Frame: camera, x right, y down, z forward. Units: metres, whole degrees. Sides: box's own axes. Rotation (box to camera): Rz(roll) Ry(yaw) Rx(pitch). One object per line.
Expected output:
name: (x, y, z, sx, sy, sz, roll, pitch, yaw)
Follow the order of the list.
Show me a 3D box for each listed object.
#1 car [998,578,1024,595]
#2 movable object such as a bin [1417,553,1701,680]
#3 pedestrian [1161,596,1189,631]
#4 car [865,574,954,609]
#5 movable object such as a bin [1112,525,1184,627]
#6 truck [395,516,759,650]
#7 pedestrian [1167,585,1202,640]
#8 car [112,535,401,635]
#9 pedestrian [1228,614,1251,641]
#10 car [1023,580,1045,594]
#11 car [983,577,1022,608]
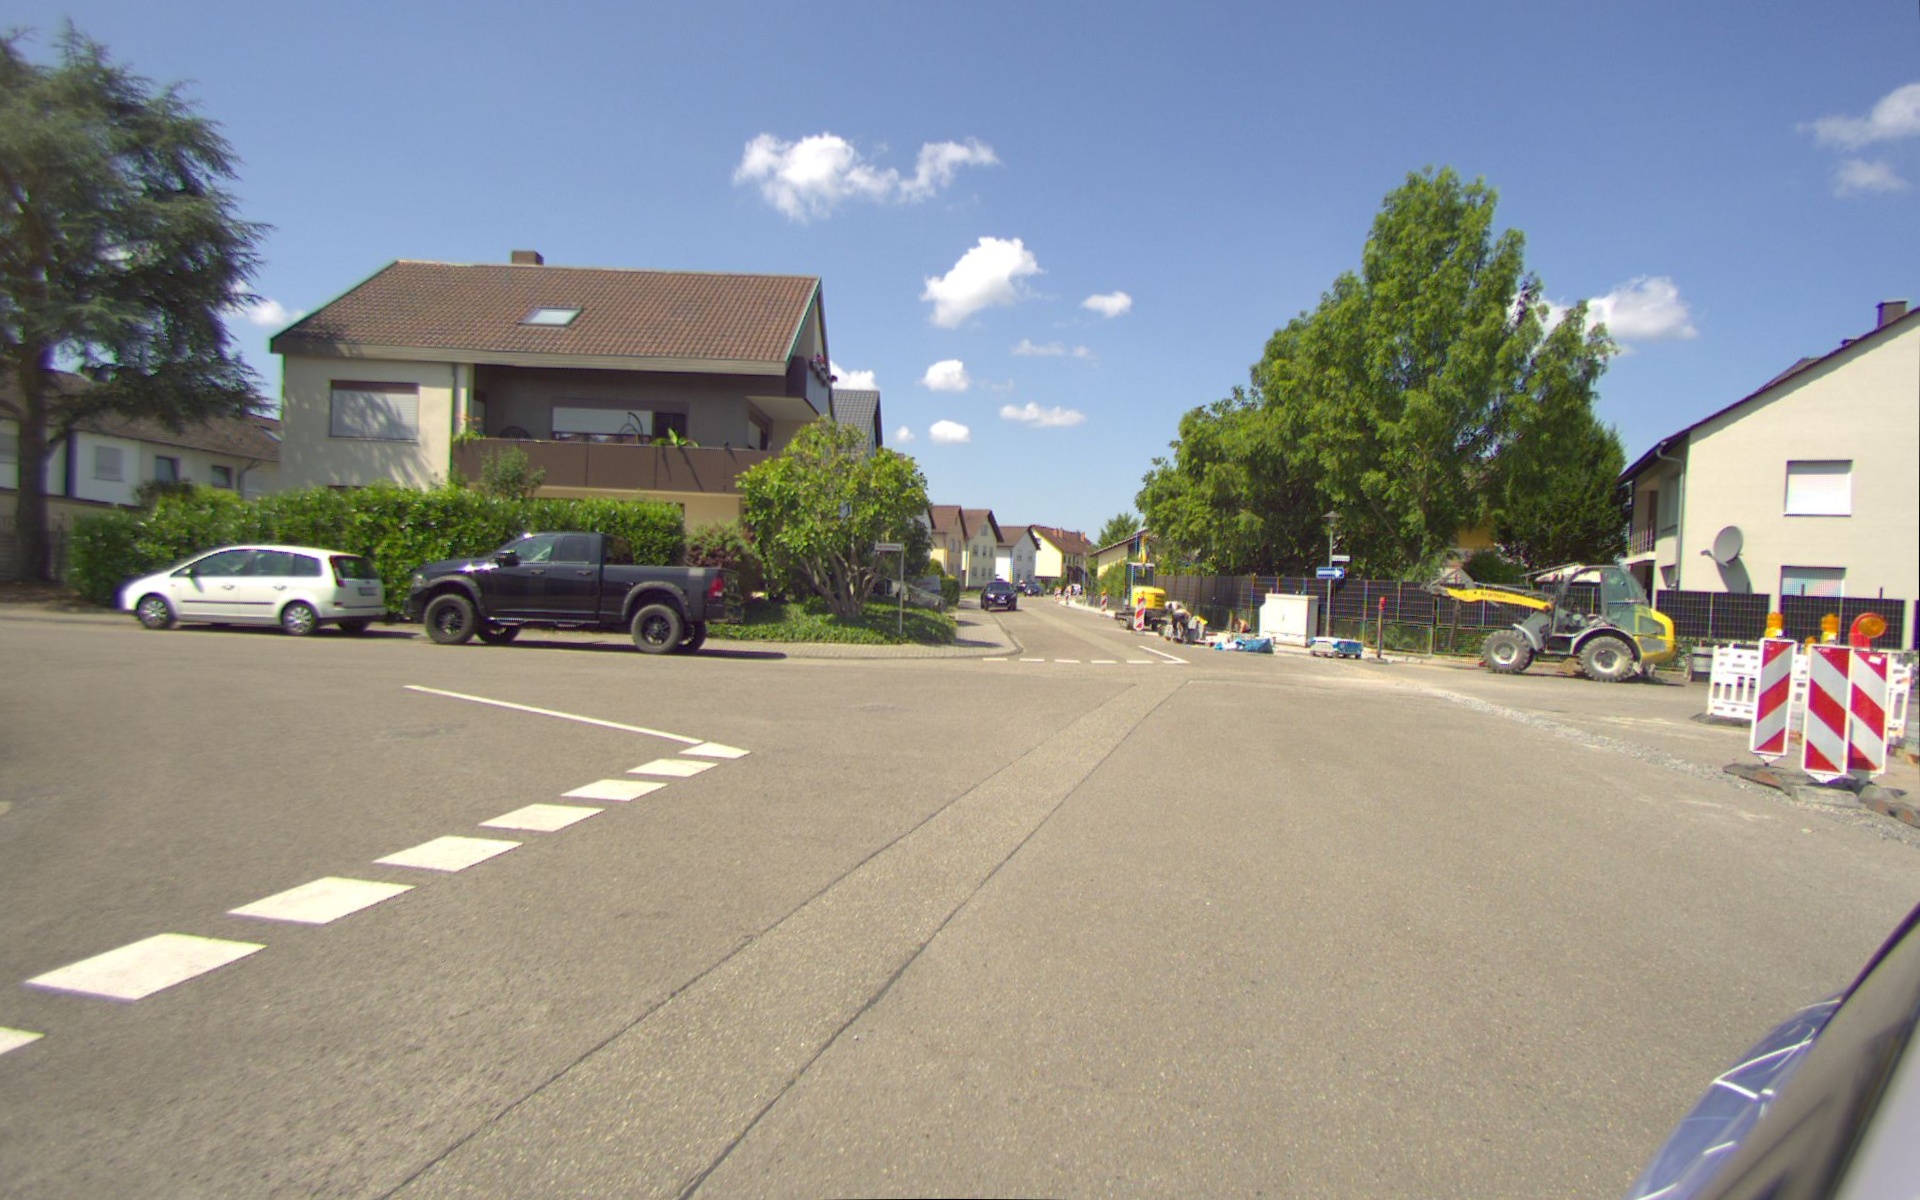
car: (5.561, -1.482, 109.911, 1.940, 1.670, 3.982, 3, 1, 14)
movable object such as a bin: (13.228, 0.302, 22.656, 5.194, 2.483, 1.976, 3, -1, 33)
pedestrian: (7.487, 0.470, 35.235, 0.811, 1.183, 0.511, 1, 1, -41)
car: (-2.267, -0.408, 46.021, 3.924, 1.358, 2.001, 2, 1, 0)
movable object such as a bin: (7.106, -0.930, 38.636, 1.963, 3.609, 3.814, 2, 1, 1)
truck: (-6.674, -0.224, 18.262, 5.602, 2.040, 2.371, 2, -3, -2)
pedestrian: (6.433, 0.347, 28.984, 0.836, 1.533, 0.532, 1, 1, -41)
car: (-12.931, -0.285, 18.788, 4.064, 1.582, 1.804, 2, 1, -1)
pedestrian: (8.598, 0.832, 31.116, 0.512, 0.803, 0.432, 1, 1, -29)
car: (9.032, -1.606, 123.746, 1.971, 1.670, 3.982, 3, 1, 14)
car: (2.291, -0.436, 55.577, 1.883, 1.561, 4.001, 2, 1, -1)
